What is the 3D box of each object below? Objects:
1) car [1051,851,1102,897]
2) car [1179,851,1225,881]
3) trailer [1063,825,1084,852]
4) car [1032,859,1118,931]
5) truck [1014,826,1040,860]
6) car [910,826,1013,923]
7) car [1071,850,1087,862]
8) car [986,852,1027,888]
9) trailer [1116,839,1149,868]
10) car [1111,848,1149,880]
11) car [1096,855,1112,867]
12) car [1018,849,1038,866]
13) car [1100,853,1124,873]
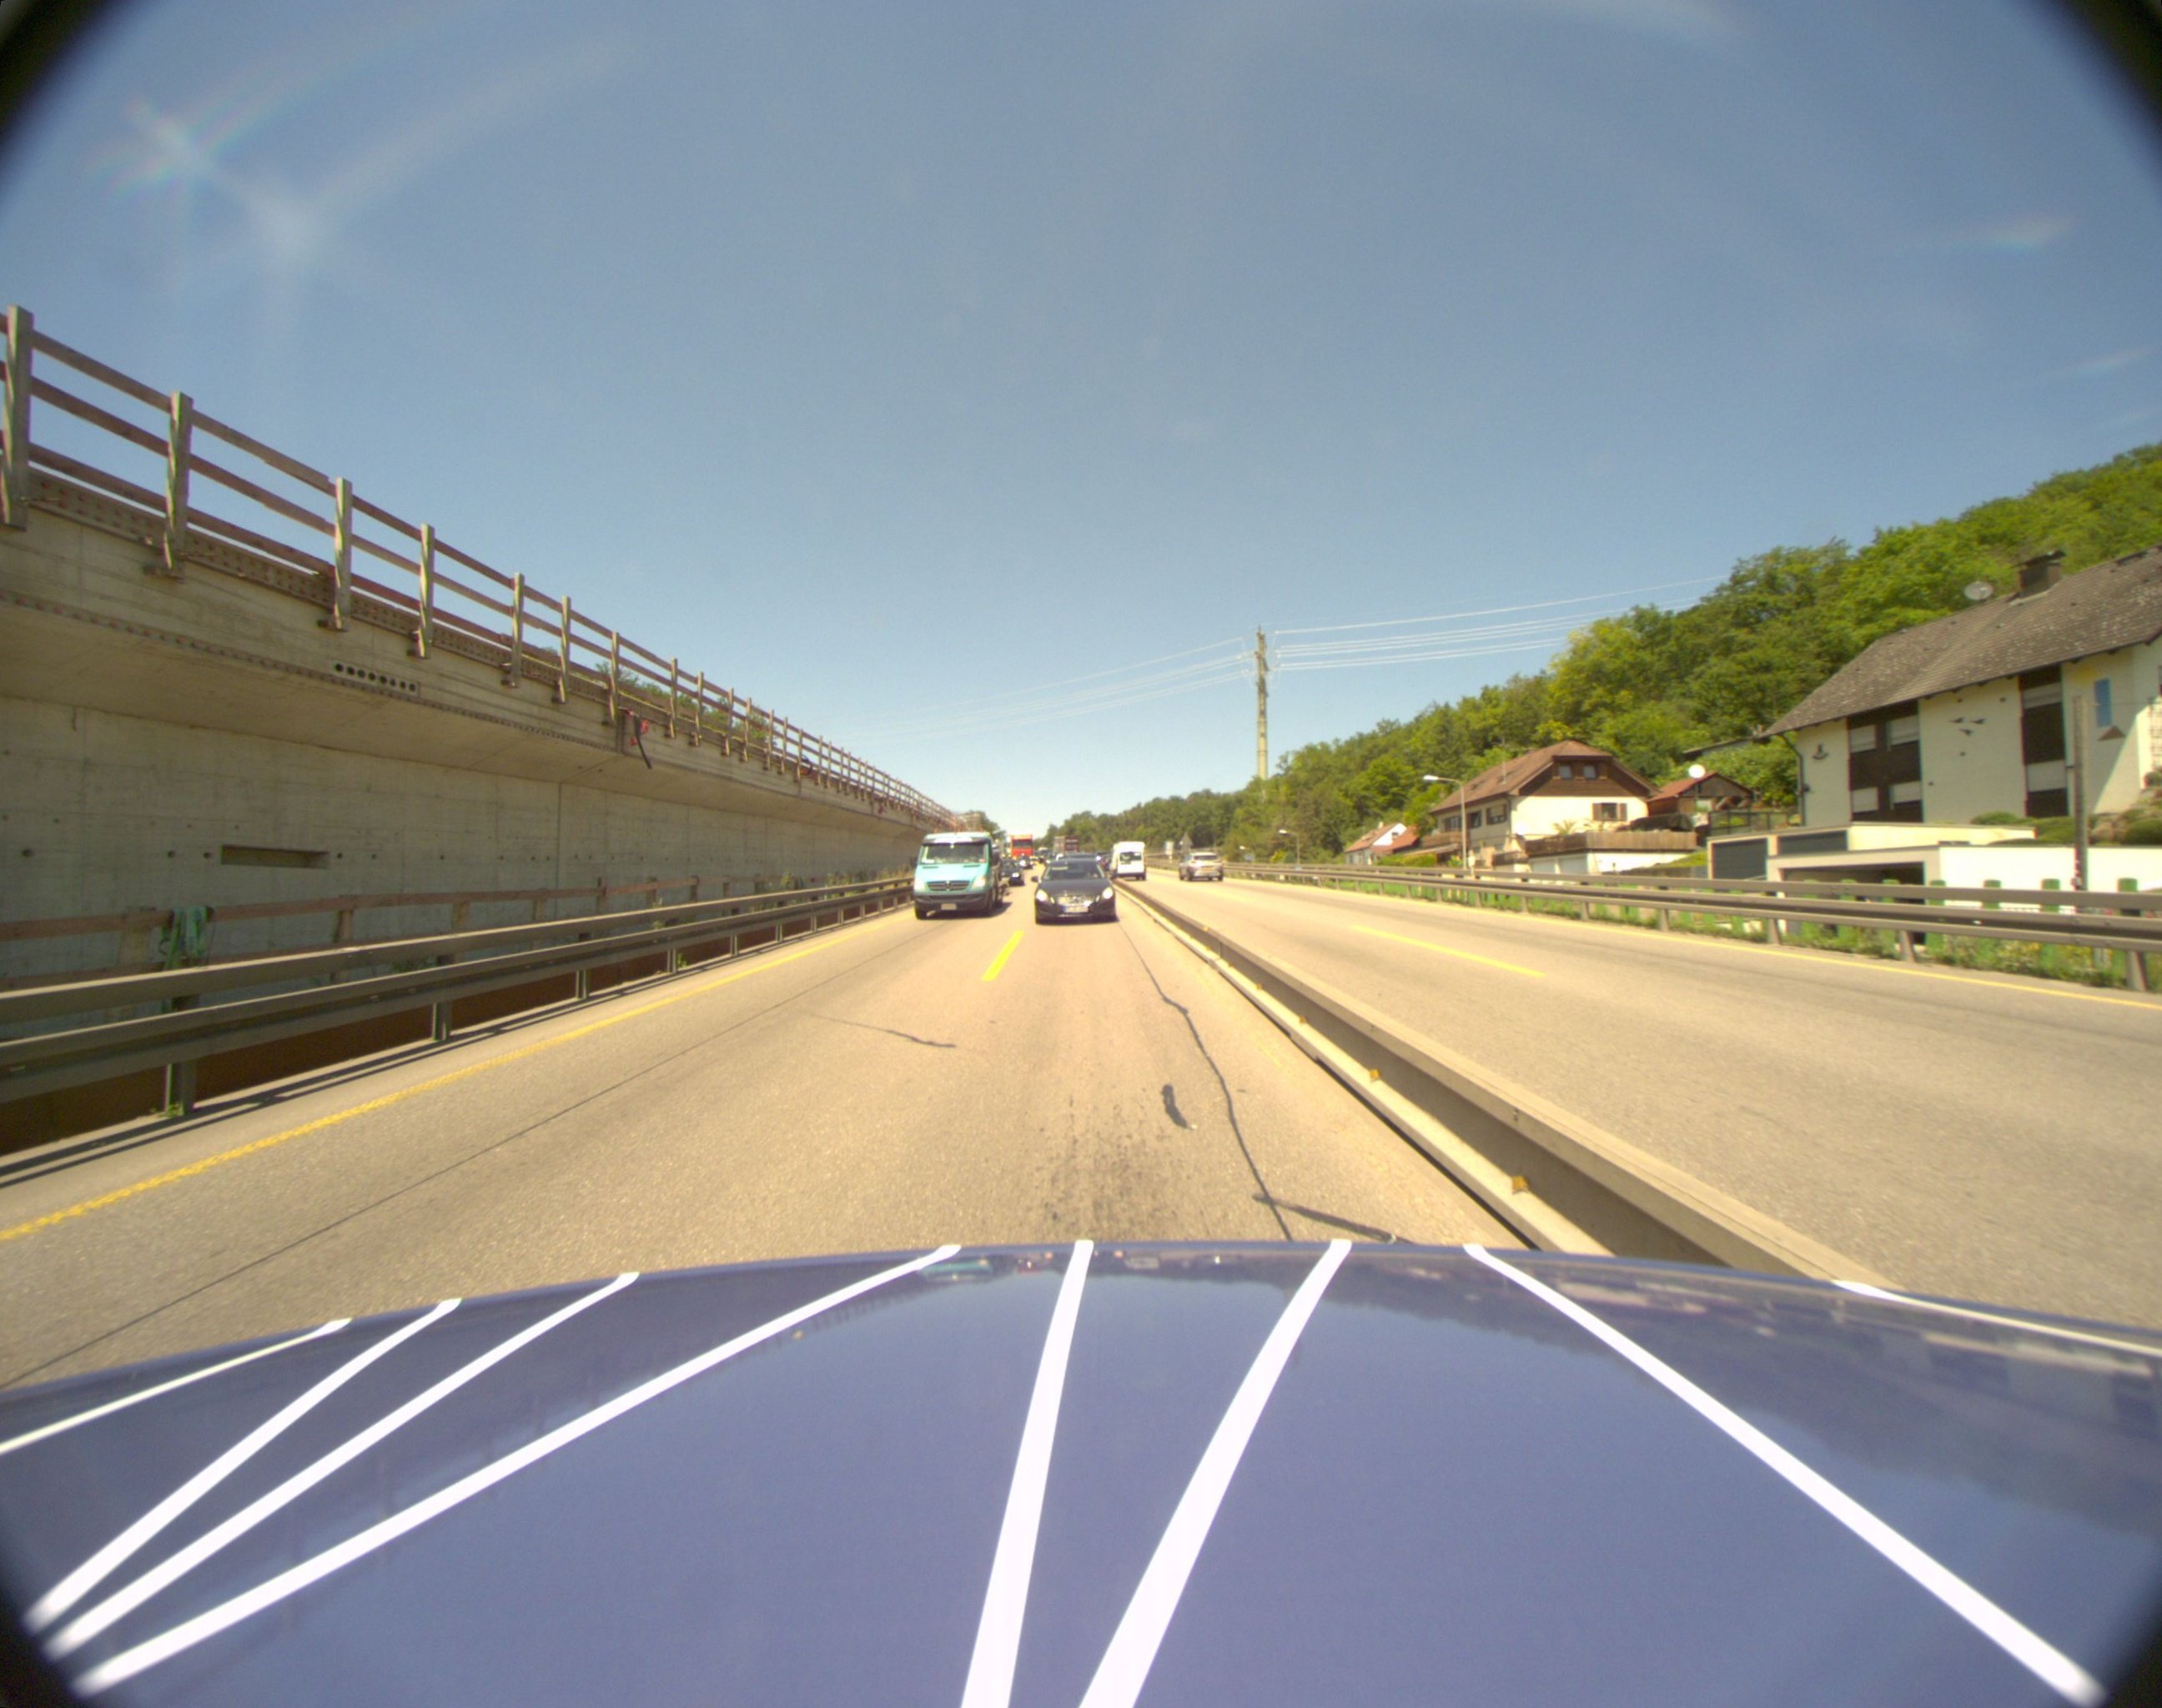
[{"bbox_3d":[-0.211,0.758,31.087,1.860,1.650,3.999,-3,1,-1],"label":"car"},{"bbox_3d":[6.405,0.620,40.570,1.706,1.471,3.973,-2,0,-1],"label":"car"},{"bbox_3d":[-1.423,-2.795,139.105,3.130,4.688,12.073,-3,1,-3],"label":"trailer"},{"bbox_3d":[-0.199,0.889,18.391,1.793,1.440,4.296,-1,0,-2],"label":"car"},{"bbox_3d":[-6.816,-1.364,96.814,2.651,3.978,11.193,-3,1,-2],"label":"truck"},{"bbox_3d":[-3.302,0.492,22.575,1.968,2.367,7.208,-2,0,-1],"label":"car"},{"bbox_3d":[-0.292,0.243,101.789,1.802,1.577,4.321,-2,0,-3],"label":"car"},{"bbox_3d":[-3.899,0.797,40.195,1.860,1.650,3.998,-3,1,-3],"label":"car"},{"bbox_3d":[4.970,-0.079,74.342,2.606,2.574,6.239,-2,1,-1],"label":"trailer"},{"bbox_3d":[2.780,0.522,44.217,1.814,1.730,4.256,-2,0,-1],"label":"car"},{"bbox_3d":[2.921,0.874,97.631,1.630,1.506,3.854,-2,0,-4],"label":"car"},{"bbox_3d":[-5.340,0.332,76.609,1.674,1.499,3.648,-3,1,1],"label":"car"},{"bbox_3d":[2.365,0.642,58.767,1.575,1.453,4.212,-2,0,-1],"label":"car"}]
